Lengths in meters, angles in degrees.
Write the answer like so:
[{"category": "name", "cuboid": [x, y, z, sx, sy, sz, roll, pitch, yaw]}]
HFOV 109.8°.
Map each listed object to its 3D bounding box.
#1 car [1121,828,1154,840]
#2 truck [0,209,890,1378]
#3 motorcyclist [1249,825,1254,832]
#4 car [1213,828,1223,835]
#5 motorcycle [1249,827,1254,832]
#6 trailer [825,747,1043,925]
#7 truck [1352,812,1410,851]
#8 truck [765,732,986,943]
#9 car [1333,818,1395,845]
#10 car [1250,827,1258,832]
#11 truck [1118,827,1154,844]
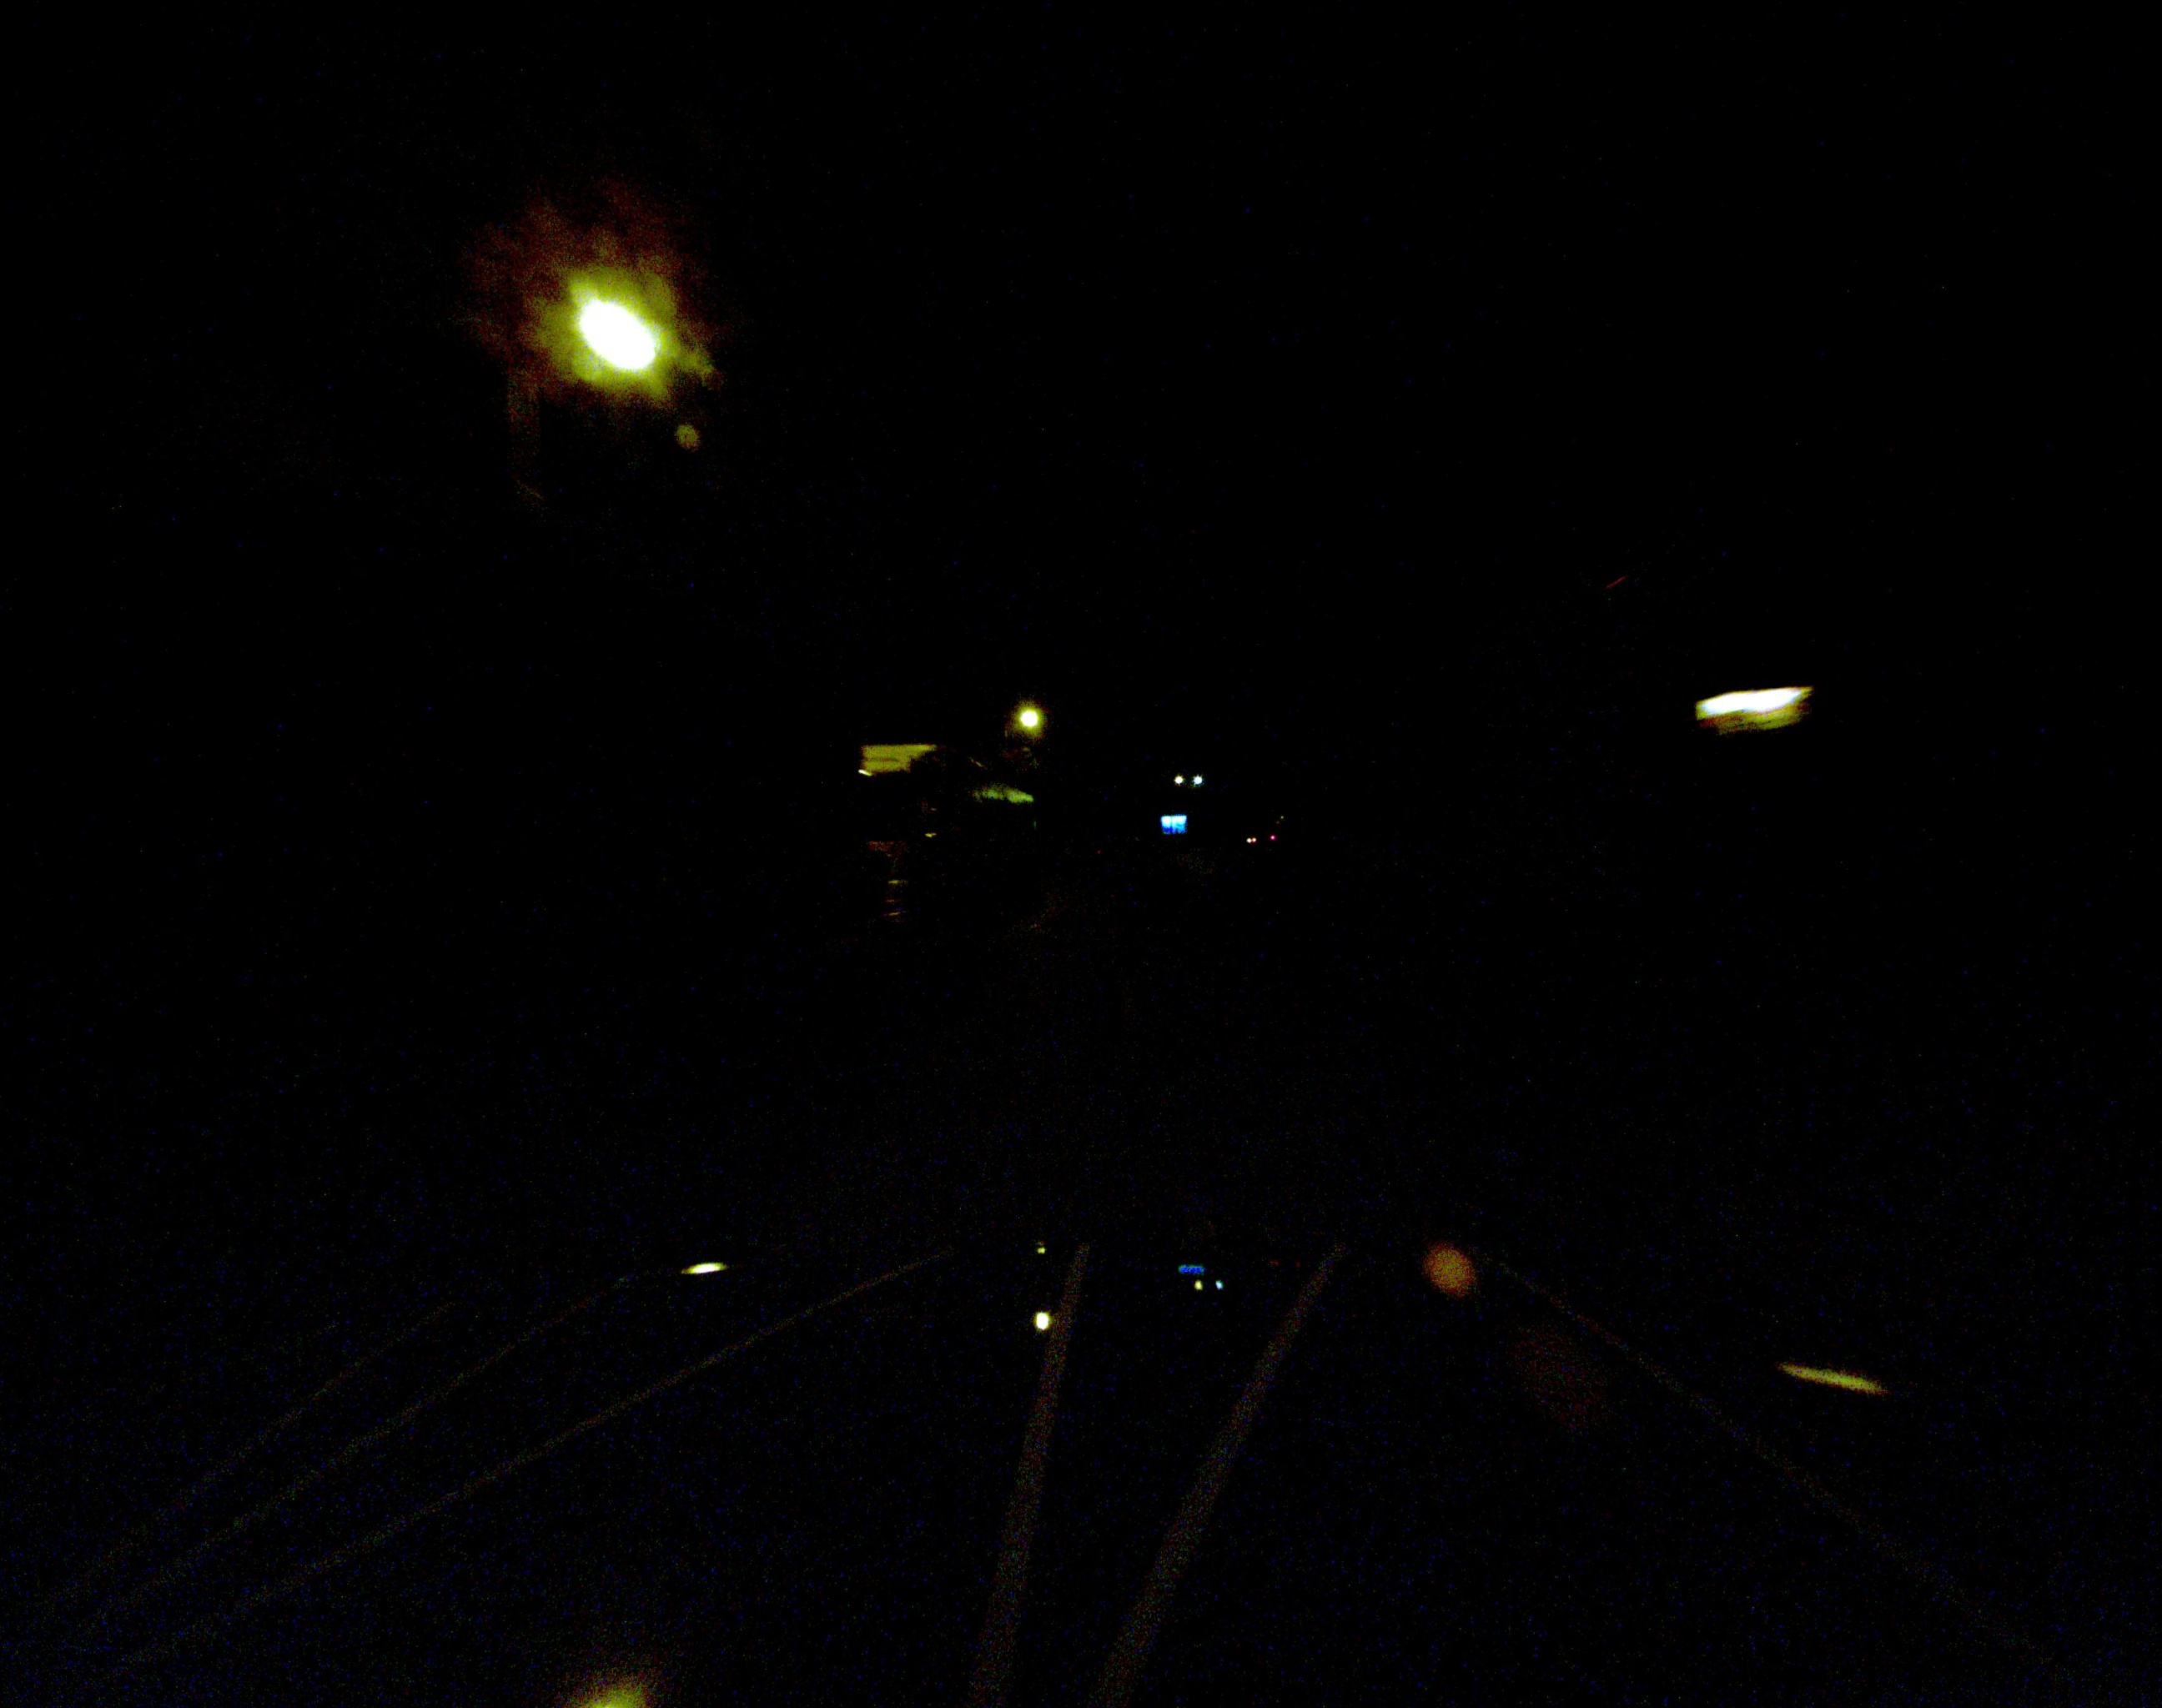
[{"category": "car", "cuboid": [9.503, -3.372, 128.525, 5.079, 1.826, 1.991, -3, 2, 19]}, {"category": "truck", "cuboid": [-4.824, -0.289, 6.966, 2.836, 3.961, 10.342, -2, 1, 3]}, {"category": "motorcyclist", "cuboid": [48.347, -7.359, 215.389, 1.136, 1.889, 0.834, -3, 2, 11]}, {"category": "car", "cuboid": [29.850, -4.930, 165.644, 1.938, 1.543, 4.002, -3, 1, 12]}, {"category": "motorcycle", "cuboid": [48.375, -6.963, 215.496, 0.999, 1.297, 2.828, -3, 2, 11]}, {"category": "trailer", "cuboid": [-3.686, -0.452, 24.145, 2.814, 3.960, 13.979, -2, 0, 5]}, {"category": "truck", "cuboid": [16.378, -1.239, 41.775, 1.997, 1.889, 5.320, -3, 1, 12]}, {"category": "truck", "cuboid": [-4.341, -0.364, 17.631, 2.836, 3.961, 6.051, -2, 1, 6]}, {"category": "car", "cuboid": [21.812, -1.725, 58.720, 4.134, 1.762, 2.001, -3, 2, 8]}, {"category": "car", "cuboid": [54.059, -7.630, 236.931, 1.996, 1.618, 4.756, -3, 2, 16]}, {"category": "truck", "cuboid": [9.127, -3.080, 125.913, 5.538, 2.585, 2.474, -3, 2, 16]}]
